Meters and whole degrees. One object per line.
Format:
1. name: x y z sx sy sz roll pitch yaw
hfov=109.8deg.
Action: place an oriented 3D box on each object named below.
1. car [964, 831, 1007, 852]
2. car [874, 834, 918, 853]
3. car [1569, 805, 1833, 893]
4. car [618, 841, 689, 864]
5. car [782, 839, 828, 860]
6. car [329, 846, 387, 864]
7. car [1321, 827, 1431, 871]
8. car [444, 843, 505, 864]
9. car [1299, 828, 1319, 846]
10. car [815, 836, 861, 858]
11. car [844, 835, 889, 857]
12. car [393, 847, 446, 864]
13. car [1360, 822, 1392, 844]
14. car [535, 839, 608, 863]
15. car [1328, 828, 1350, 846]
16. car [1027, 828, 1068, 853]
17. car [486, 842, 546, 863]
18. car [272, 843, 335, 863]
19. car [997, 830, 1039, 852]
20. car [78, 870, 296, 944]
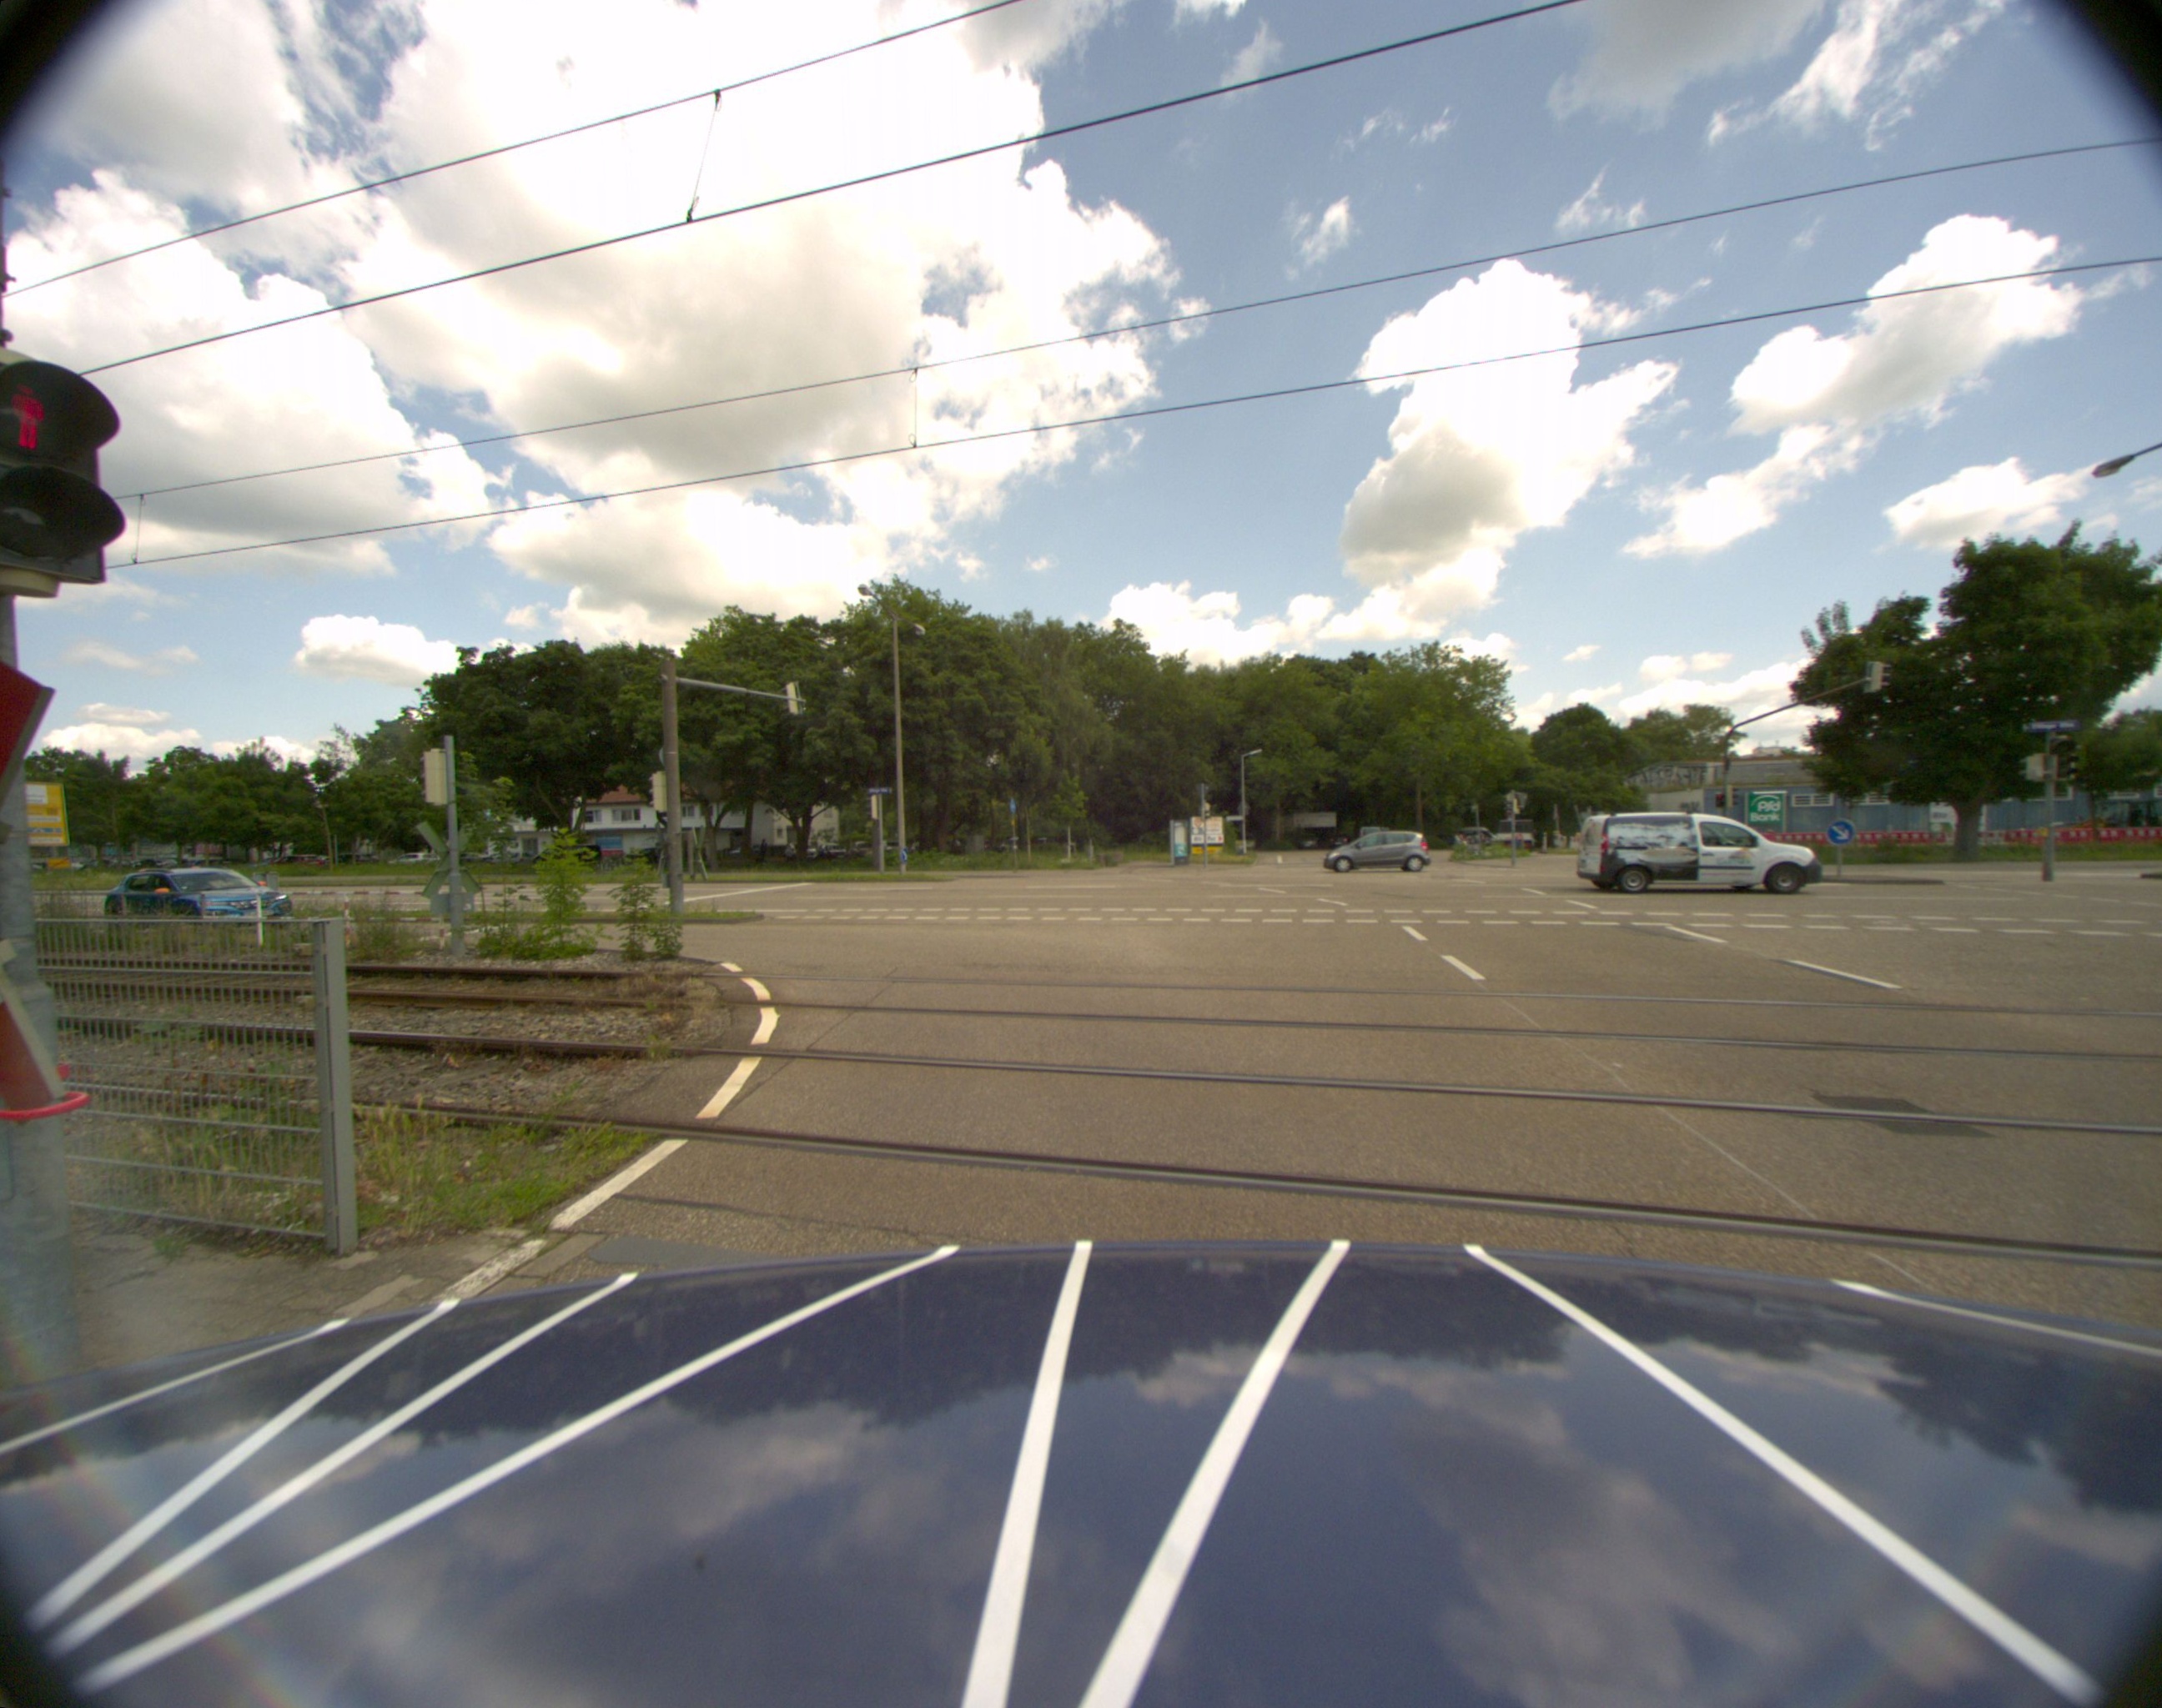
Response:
1. car: -8.170 -1.078 65.241 1.815 1.718 4.133 -1 2 23
2. car: -15.323 -0.863 62.805 2.004 1.536 4.011 -3 2 -40
3. car: 13.480 -0.115 16.836 4.147 1.776 1.749 -1 3 17
4. car: -32.786 -0.130 58.367 4.360 1.648 1.812 -1 3 3
5. car: -21.028 -0.339 57.841 2.004 1.475 4.011 -3 2 -40
6. car: -61.267 0.065 64.400 3.858 1.403 1.732 -1 2 15
7. car: 11.341 -0.211 29.454 3.765 1.585 1.793 -1 2 14
8. car: -49.335 -0.046 61.833 4.015 1.579 1.765 -1 2 15
9. car: 20.737 -1.554 69.266 1.616 1.500 3.622 -1 3 15
10. car: -19.085 -0.559 59.615 2.004 1.579 4.011 -3 2 -40
11. car: -17.323 -0.638 61.300 2.004 1.578 4.012 -3 1 -40
12. car: -54.746 0.120 62.895 3.470 1.324 1.628 -1 2 15
13. car: 26.079 -1.840 67.105 1.932 1.783 3.625 1 4 32
14. car: -39.737 -0.259 59.294 4.920 1.701 1.890 -1 2 15
15. car: 23.245 -1.553 68.489 1.616 1.500 3.622 -1 3 15
16. car: -2.748 -1.157 63.191 1.995 2.002 4.005 -1 2 21
17. car: -45.255 -0.131 60.898 3.659 1.579 1.924 -1 2 15
18. car: -67.444 -0.120 65.938 4.015 1.579 2.002 -1 2 15
19. car: -5.362 -1.127 64.843 1.815 1.700 4.133 -1 2 23
20. car: -19.667 1.123 16.753 3.696 1.456 1.607 -1 1 15
